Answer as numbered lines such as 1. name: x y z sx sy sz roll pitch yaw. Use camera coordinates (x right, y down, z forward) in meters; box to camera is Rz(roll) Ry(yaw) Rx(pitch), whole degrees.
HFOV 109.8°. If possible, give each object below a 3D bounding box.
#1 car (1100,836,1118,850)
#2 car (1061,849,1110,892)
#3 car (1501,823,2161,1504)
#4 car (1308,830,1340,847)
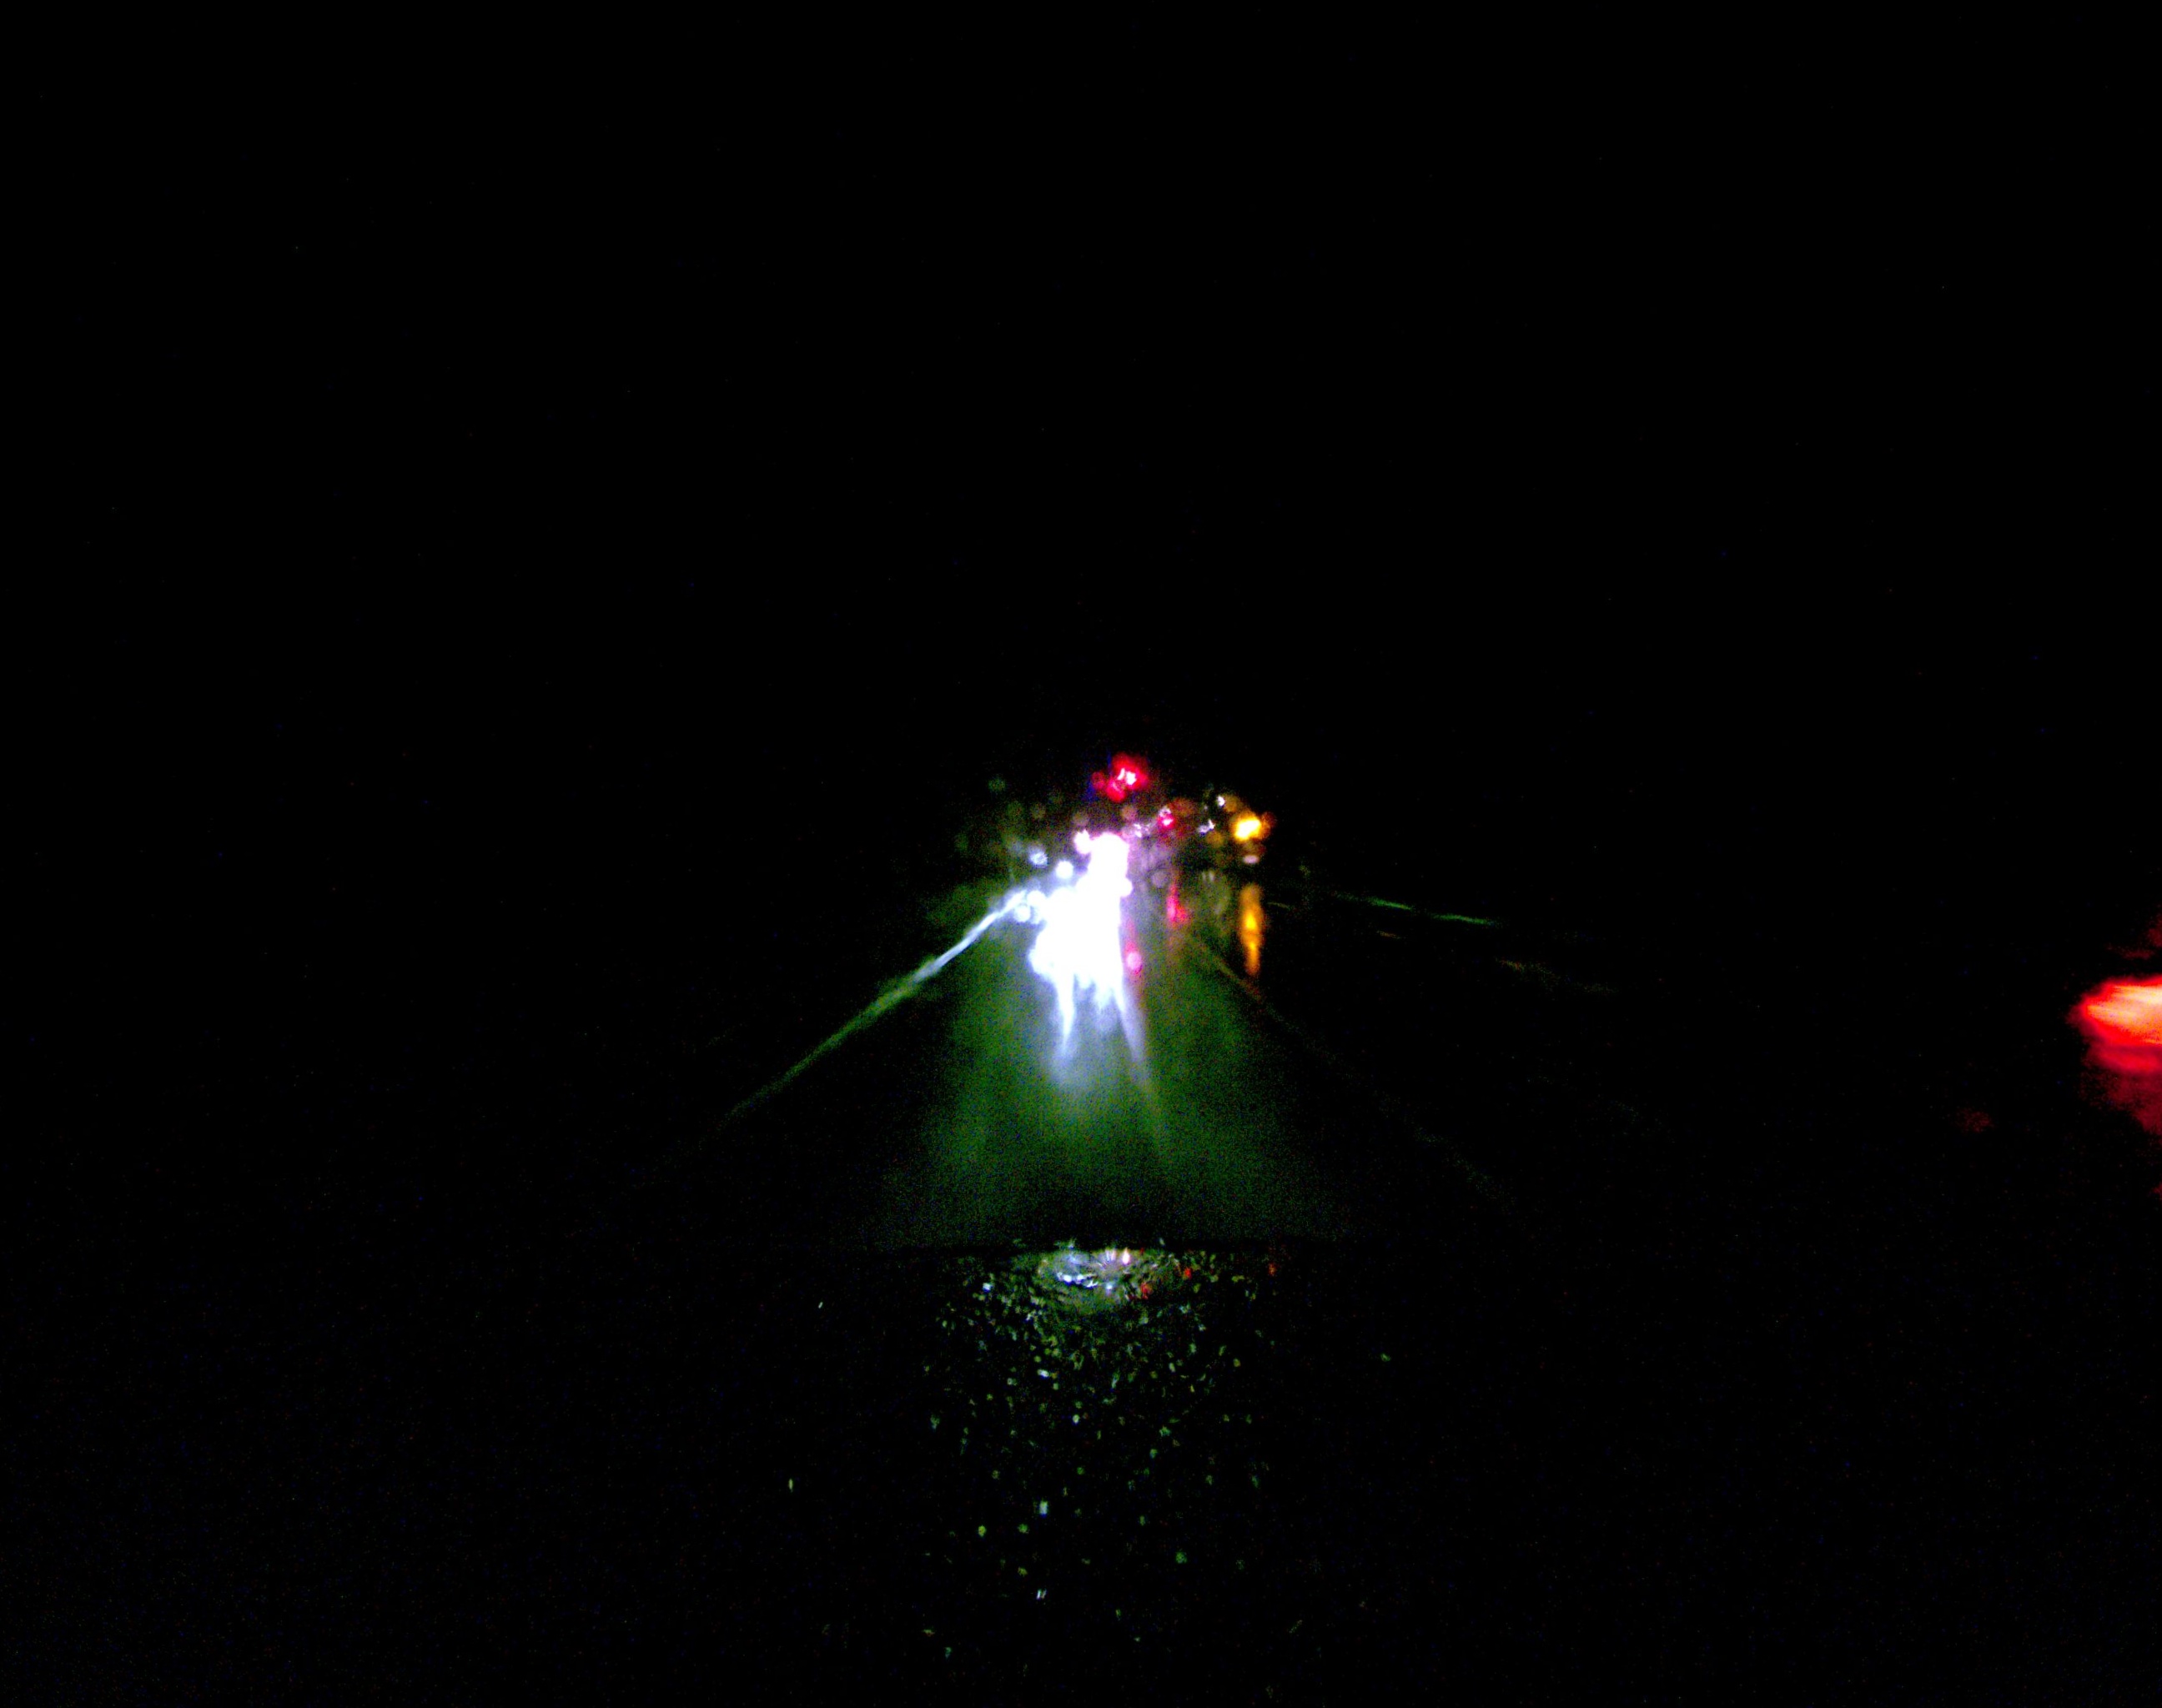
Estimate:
1. car: 3.332 -1.323 91.609 1.979 1.508 4.207 -3 -1 1
2. car: 0.218 0.694 33.322 1.893 1.678 4.339 -3 0 1
3. car: 3.586 0.743 2.813 1.893 1.661 4.000 -1 0 1
4. car: 24.970 -1.625 78.156 1.937 1.578 4.480 -1 3 2
